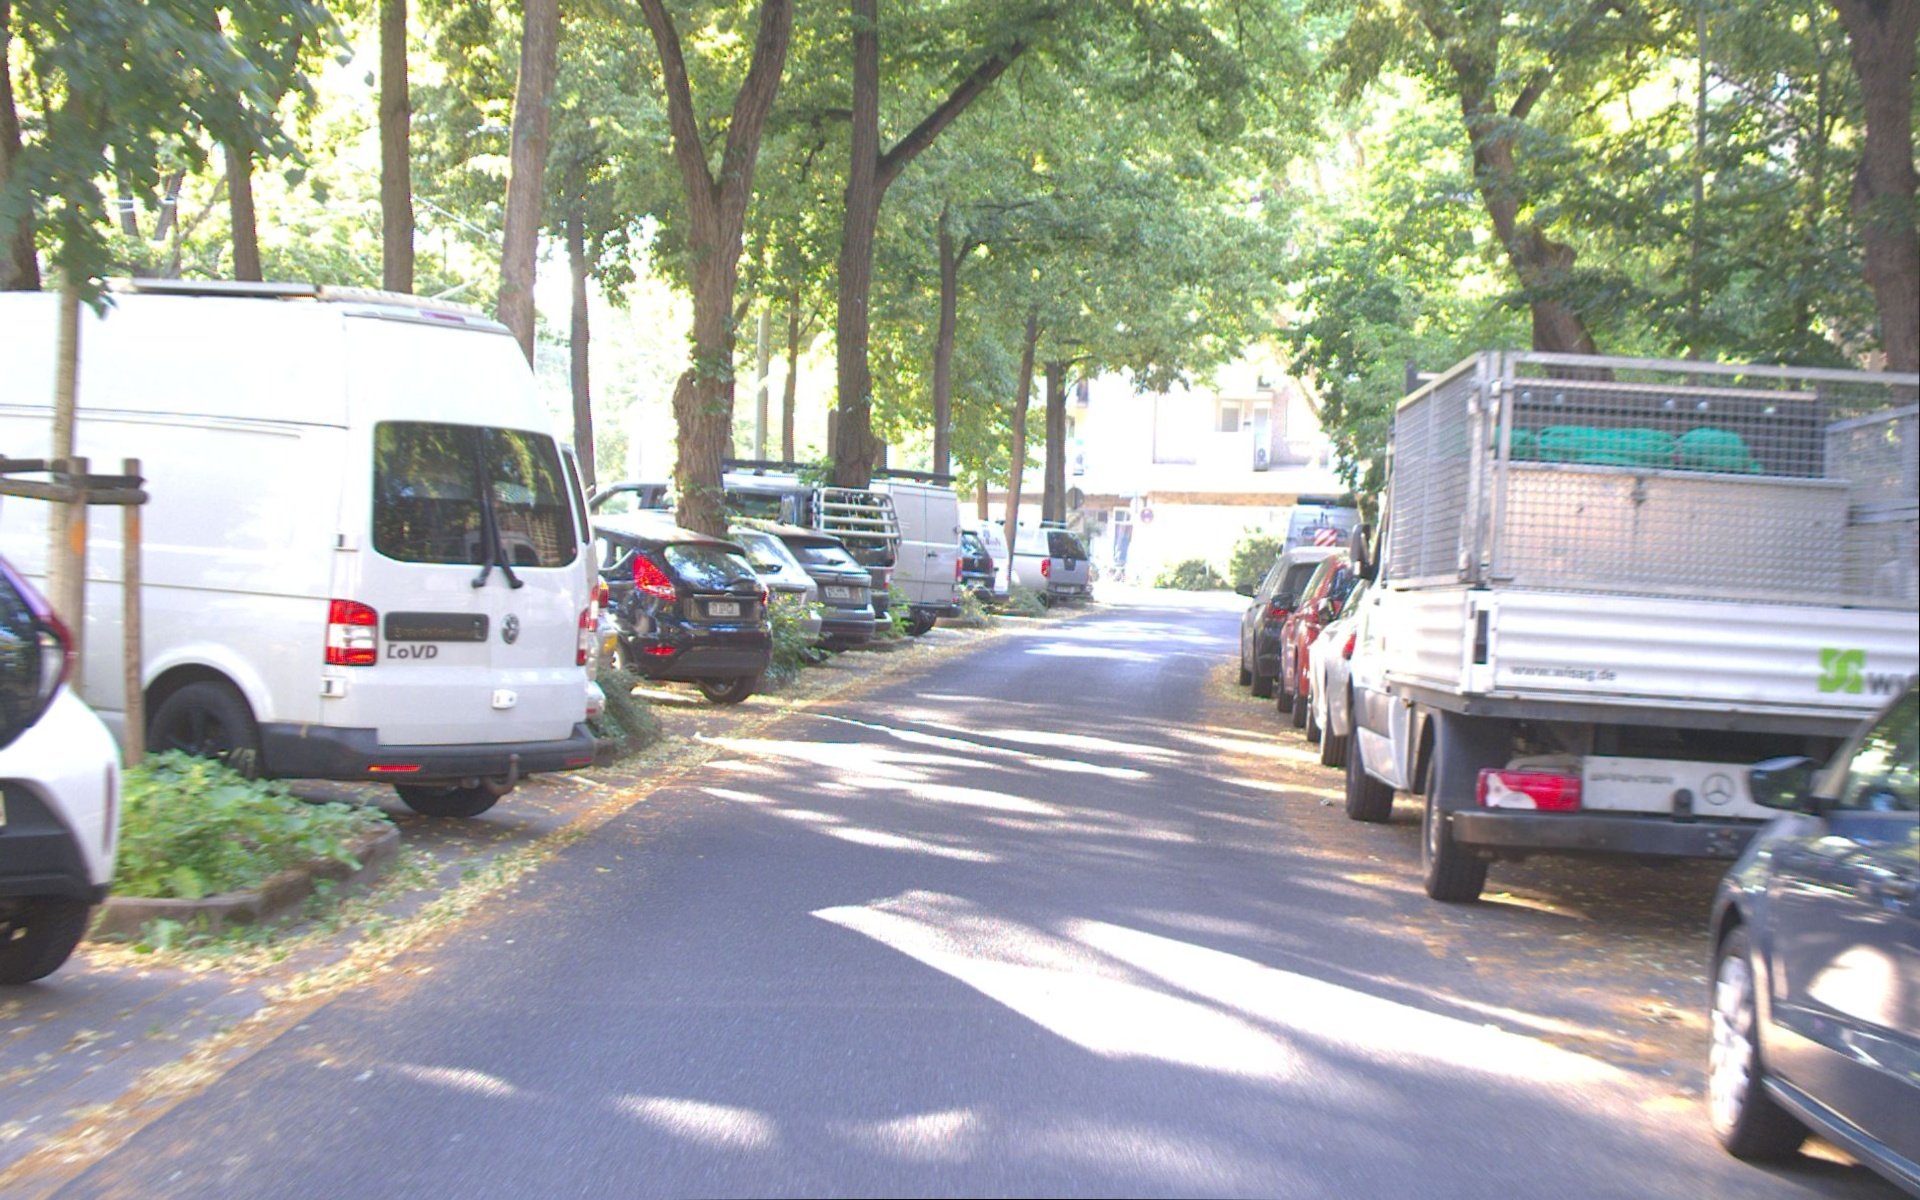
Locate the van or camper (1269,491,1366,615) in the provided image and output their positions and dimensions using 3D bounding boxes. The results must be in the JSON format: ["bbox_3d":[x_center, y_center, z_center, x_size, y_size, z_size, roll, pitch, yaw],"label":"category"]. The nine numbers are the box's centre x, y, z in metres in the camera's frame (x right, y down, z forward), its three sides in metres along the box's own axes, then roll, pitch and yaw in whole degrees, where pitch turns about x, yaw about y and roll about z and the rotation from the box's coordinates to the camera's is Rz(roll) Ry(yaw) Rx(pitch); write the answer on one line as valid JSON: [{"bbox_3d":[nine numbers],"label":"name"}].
[{"bbox_3d":[8.425,-1.109,81.096,2.084,2.753,5.844,2,1,6],"label":"van or camper"}]

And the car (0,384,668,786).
[{"bbox_3d":[-4.338,-0.161,20.165,4.880,1.971,2.041,5,1,33],"label":"car"}]

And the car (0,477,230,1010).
[{"bbox_3d":[-4.214,0.263,10.486,3.546,1.488,1.822,6,1,33],"label":"car"}]

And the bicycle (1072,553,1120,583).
[{"bbox_3d":[4.776,-1.132,120.778,0.638,1.019,2.088,1,1,-30],"label":"bicycle"}]

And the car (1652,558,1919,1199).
[{"bbox_3d":[2.702,0.678,7.358,1.672,1.453,3.893,2,1,1],"label":"car"}]

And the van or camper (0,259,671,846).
[{"bbox_3d":[-4.086,-0.331,16.862,4.880,2.462,2.041,5,1,31],"label":"van or camper"}]

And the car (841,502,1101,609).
[{"bbox_3d":[0.203,-0.927,71.361,4.996,1.775,1.984,6,1,33],"label":"car"}]

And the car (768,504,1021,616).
[{"bbox_3d":[-1.205,-0.734,62.234,4.156,1.638,1.911,6,1,37],"label":"car"}]

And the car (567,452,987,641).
[{"bbox_3d":[-2.564,-0.757,47.390,5.508,2.129,2.077,6,1,34],"label":"car"}]

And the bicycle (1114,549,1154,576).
[{"bbox_3d":[6.008,-1.299,118.825,0.542,0.901,1.736,1,1,-29],"label":"bicycle"}]

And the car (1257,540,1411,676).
[{"bbox_3d":[4.297,0.063,39.894,1.591,1.449,3.554,2,1,4],"label":"car"}]

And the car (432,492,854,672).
[{"bbox_3d":[-3.311,-0.201,35.633,4.089,1.483,1.780,6,1,36],"label":"car"}]

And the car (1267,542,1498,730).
[{"bbox_3d":[3.588,0.258,29.748,1.672,1.449,3.949,2,1,3],"label":"car"}]

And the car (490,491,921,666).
[{"bbox_3d":[-2.876,-0.254,38.282,4.567,1.535,1.930,6,1,38],"label":"car"}]

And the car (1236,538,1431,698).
[{"bbox_3d":[3.674,0.140,34.370,1.672,1.449,3.949,2,1,3],"label":"car"}]

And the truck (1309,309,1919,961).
[{"bbox_3d":[3.077,0.083,16.366,2.296,2.378,6.934,2,1,2],"label":"truck"}]

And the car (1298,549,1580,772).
[{"bbox_3d":[3.355,0.364,24.738,1.672,1.393,4.298,2,1,4],"label":"car"}]

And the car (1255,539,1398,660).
[{"bbox_3d":[4.767,-0.035,45.106,1.680,1.449,4.075,2,1,4],"label":"car"}]

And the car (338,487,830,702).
[{"bbox_3d":[-3.183,-0.058,28.771,3.821,1.434,1.821,6,1,38],"label":"car"}]

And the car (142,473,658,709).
[{"bbox_3d":[-4.354,-0.075,26.614,3.546,1.488,1.822,6,1,33],"label":"car"}]

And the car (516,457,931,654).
[{"bbox_3d":[-2.862,-0.551,41.048,4.709,1.936,1.930,6,1,38],"label":"car"}]

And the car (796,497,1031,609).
[{"bbox_3d":[-0.904,-0.907,65.440,4.158,1.775,1.879,6,1,41],"label":"car"}]
